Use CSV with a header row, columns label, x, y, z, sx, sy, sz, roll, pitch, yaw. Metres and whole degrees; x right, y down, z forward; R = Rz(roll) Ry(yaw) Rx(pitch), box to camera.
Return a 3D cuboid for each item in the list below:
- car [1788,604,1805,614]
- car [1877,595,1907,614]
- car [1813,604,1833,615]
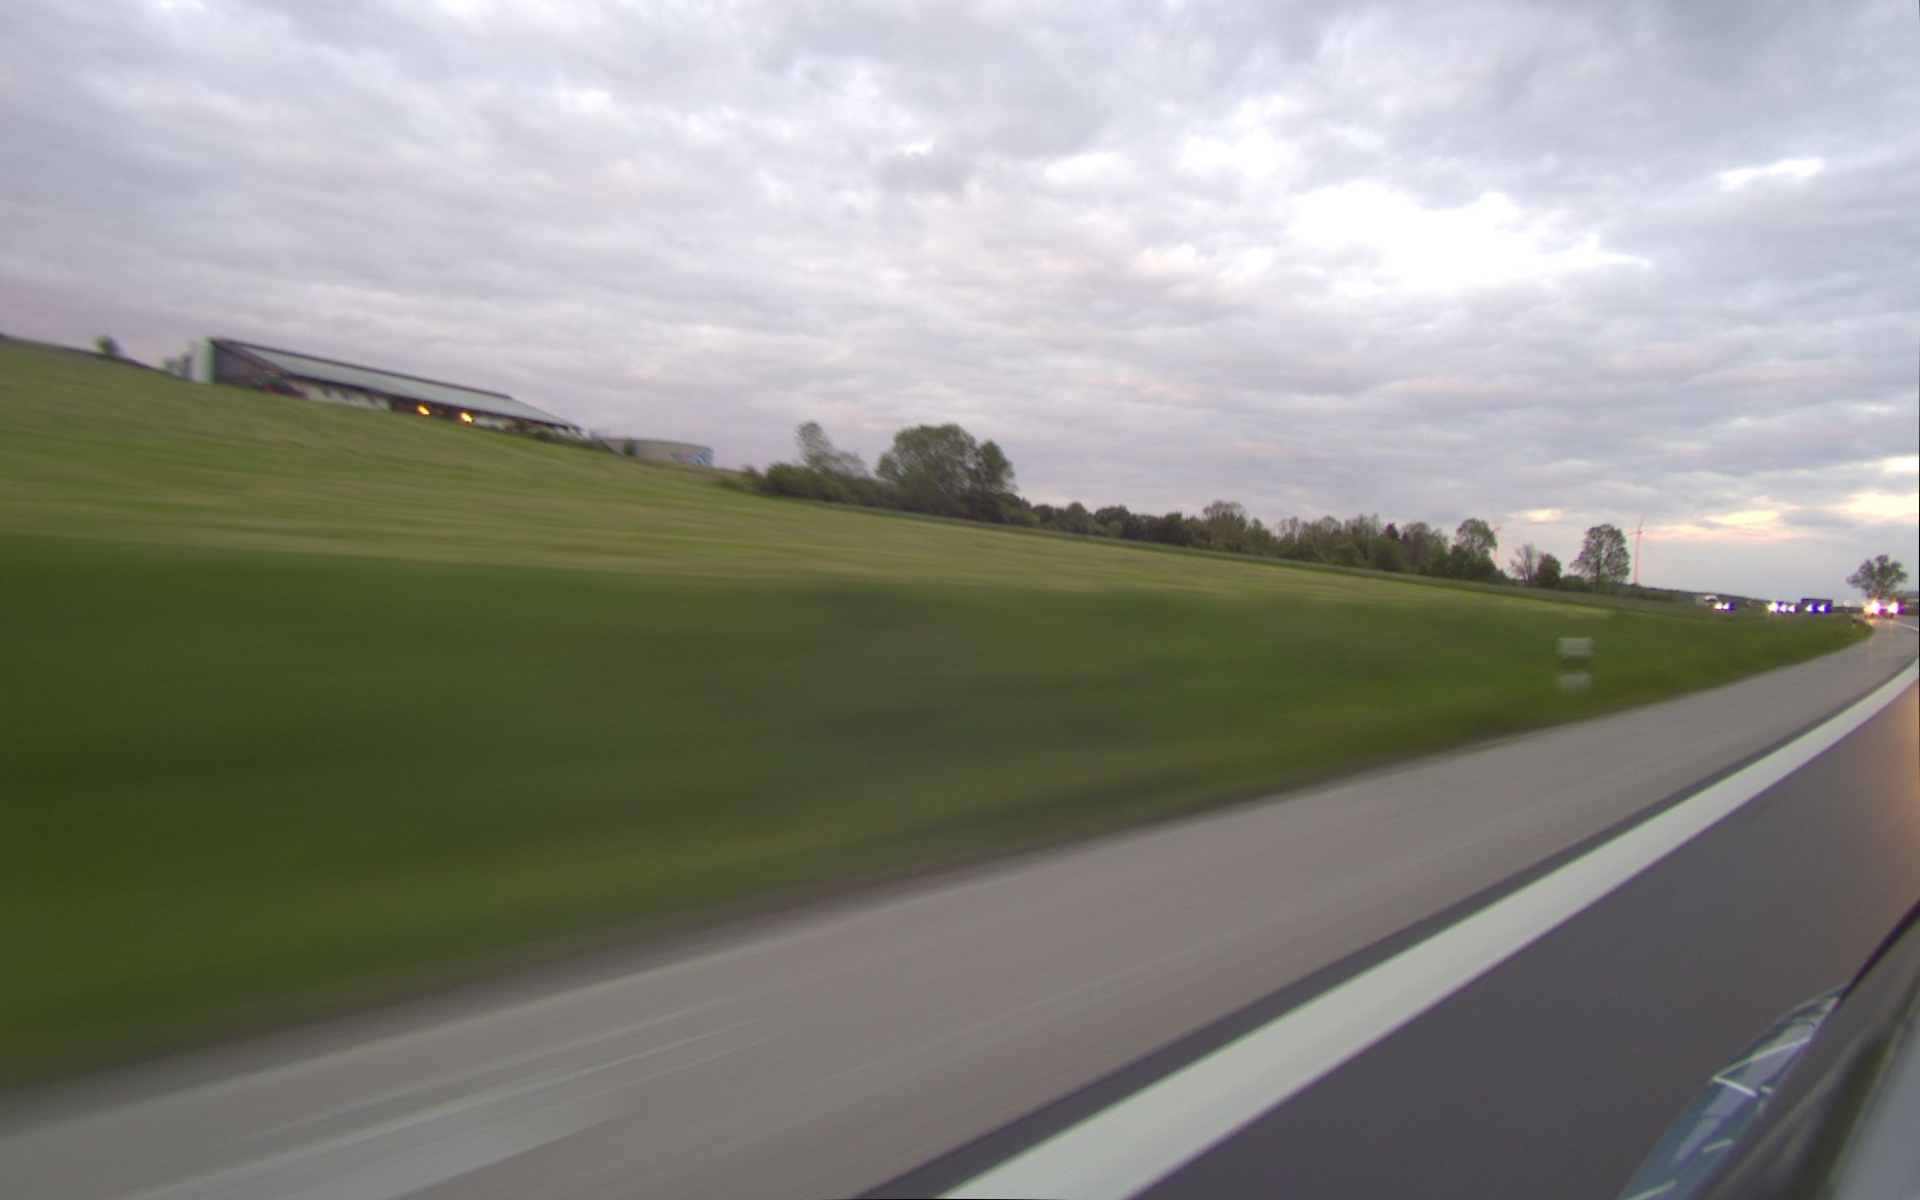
label,x,y,z,sx,sy,sz,roll,pitch,yaw
car,146.008,1.562,176.701,1.791,1.665,4.045,2,1,33
car,94.831,0.453,103.002,1.912,1.860,3.944,3,2,39
car,133.692,1.483,156.811,1.791,1.665,4.046,2,1,33
